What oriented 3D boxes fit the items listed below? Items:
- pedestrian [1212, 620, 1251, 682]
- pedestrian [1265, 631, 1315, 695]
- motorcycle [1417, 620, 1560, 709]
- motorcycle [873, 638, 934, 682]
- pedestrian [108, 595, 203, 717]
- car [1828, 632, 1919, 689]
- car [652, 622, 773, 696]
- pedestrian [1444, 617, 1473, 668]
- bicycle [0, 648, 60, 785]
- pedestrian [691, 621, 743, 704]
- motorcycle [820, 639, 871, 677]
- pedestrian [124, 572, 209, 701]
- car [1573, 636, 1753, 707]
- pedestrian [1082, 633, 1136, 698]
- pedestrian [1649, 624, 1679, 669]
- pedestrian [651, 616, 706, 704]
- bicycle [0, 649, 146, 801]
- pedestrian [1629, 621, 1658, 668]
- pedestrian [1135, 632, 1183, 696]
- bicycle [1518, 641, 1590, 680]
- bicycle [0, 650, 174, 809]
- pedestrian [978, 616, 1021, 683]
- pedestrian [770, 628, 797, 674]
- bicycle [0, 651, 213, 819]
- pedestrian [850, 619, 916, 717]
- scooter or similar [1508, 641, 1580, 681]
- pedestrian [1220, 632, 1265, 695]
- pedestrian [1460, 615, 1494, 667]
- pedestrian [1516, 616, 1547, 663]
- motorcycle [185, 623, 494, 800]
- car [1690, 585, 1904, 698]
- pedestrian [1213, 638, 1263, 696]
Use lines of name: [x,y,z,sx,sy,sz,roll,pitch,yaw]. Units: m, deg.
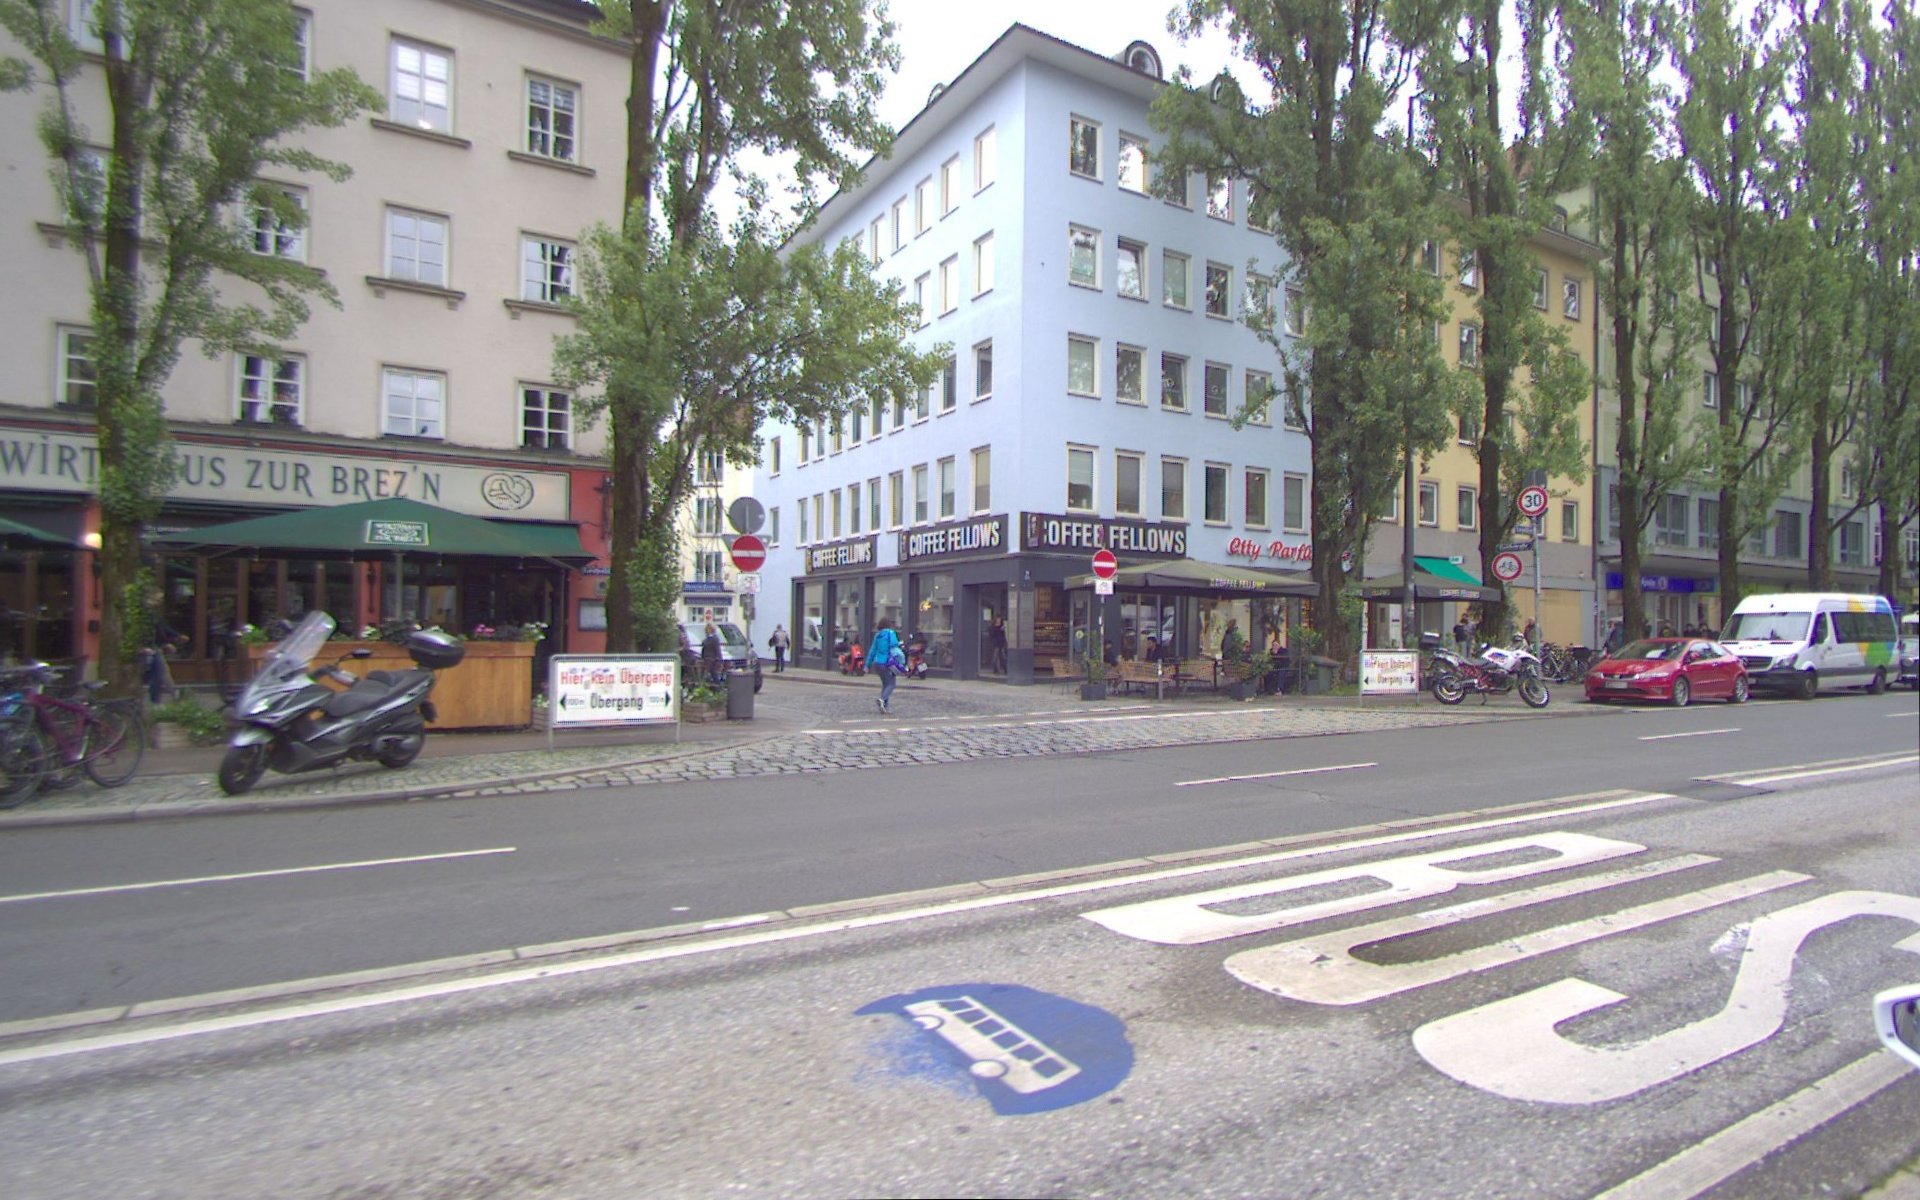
pedestrian: [7.696,1.433,28.506,0.775,1.708,0.753,1,-1,-27]
pedestrian: [7.295,1.374,22.221,0.838,1.380,0.694,1,-1,-31]
motorcycle: [10.075,1.202,19.235,2.301,1.584,0.715,1,0,18]
motorcycle: [-1.737,1.790,30.482,0.729,1.219,2.748,-1,-1,-29]
pedestrian: [-11.944,0.821,14.945,0.938,1.745,0.695,1,-1,-28]
car: [27.532,1.741,29.432,4.363,1.572,1.858,1,-3,-31]
car: [-6.700,1.531,26.835,1.960,1.789,4.551,1,-3,-30]
pedestrian: [16.338,1.377,32.929,0.553,1.657,0.699,0,-1,-6]
bicycle: [-8.434,1.007,8.115,0.335,1.140,1.983,2,0,7]
pedestrian: [-5.024,1.270,20.732,0.916,1.669,0.696,0,-1,-25]
motorcycle: [-3.951,1.965,34.426,0.729,1.219,2.748,-1,-1,-29]
pedestrian: [-12.453,0.572,15.794,0.894,1.952,0.695,1,-1,-28]
car: [15.622,1.532,22.283,4.100,1.438,1.729,1,-3,-31]
pedestrian: [3.240,1.413,21.870,0.938,1.380,0.695,1,-1,-28]
pedestrian: [27.388,1.816,39.099,0.717,1.722,0.695,1,-1,-26]
pedestrian: [-5.470,1.147,19.502,0.916,1.668,0.696,1,-1,-25]
bicycle: [-7.699,1.020,8.208,0.277,1.140,1.983,2,0,7]
pedestrian: [27.090,1.750,39.825,0.717,1.818,0.695,1,-1,-26]
pedestrian: [4.417,1.411,22.328,0.808,1.380,0.695,1,-1,-27]
bicycle: [16.810,1.706,28.444,0.417,1.040,1.763,1,-2,-32]
bicycle: [-7.423,1.029,8.175,0.277,1.140,1.983,2,0,7]
pedestrian: [1.082,1.347,27.470,0.933,1.796,0.699,0,-1,29]
pedestrian: [-6.635,1.906,37.776,0.693,1.668,0.859,1,-1,-34]
bicycle: [-7.089,1.033,8.159,0.353,1.140,1.983,2,0,7]
pedestrian: [-1.360,1.184,17.826,0.690,1.668,0.945,-1,-2,44]
scooter or similar: [16.295,1.688,28.075,0.417,1.040,1.763,1,-2,-32]
pedestrian: [6.332,1.413,22.505,0.692,1.380,0.709,1,-1,-32]
pedestrian: [16.936,1.340,32.929,0.713,1.657,0.699,0,-1,-6]
pedestrian: [20.384,1.413,35.842,0.718,1.657,0.695,1,-1,-28]
motorcycle: [-5.696,0.945,9.455,0.732,1.433,2.452,0,-2,26]
car: [21.557,1.066,25.763,6.831,2.601,1.996,1,-3,-31]
pedestrian: [6.015,1.436,21.741,0.692,1.198,0.811,1,-1,-32]
